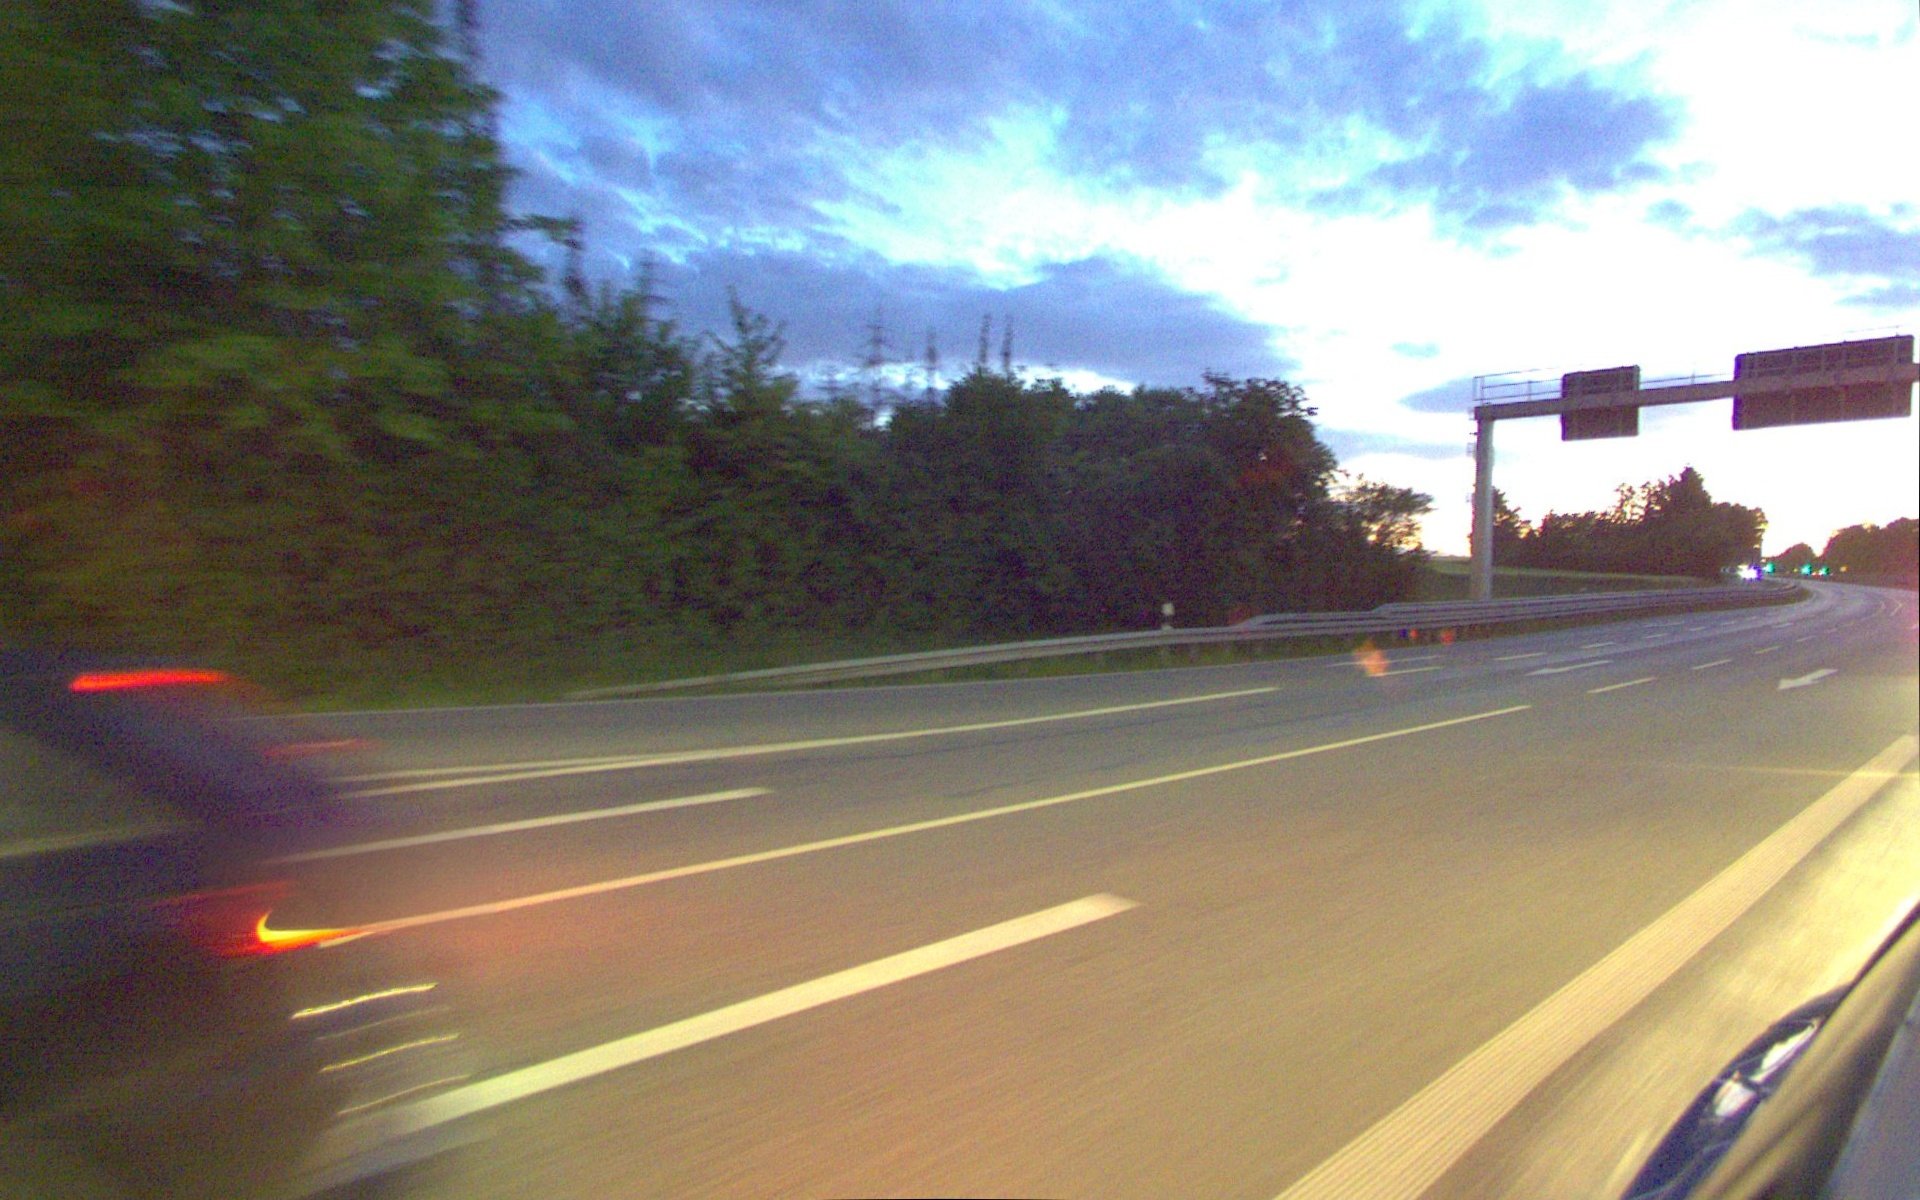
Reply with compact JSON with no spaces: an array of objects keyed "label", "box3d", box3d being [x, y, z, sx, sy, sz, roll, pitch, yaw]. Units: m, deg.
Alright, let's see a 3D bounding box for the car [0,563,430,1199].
[{"label":"car","box3d":[-3.297,0.698,1.201,4.455,1.461,1.793,-1,0,-41]}]
